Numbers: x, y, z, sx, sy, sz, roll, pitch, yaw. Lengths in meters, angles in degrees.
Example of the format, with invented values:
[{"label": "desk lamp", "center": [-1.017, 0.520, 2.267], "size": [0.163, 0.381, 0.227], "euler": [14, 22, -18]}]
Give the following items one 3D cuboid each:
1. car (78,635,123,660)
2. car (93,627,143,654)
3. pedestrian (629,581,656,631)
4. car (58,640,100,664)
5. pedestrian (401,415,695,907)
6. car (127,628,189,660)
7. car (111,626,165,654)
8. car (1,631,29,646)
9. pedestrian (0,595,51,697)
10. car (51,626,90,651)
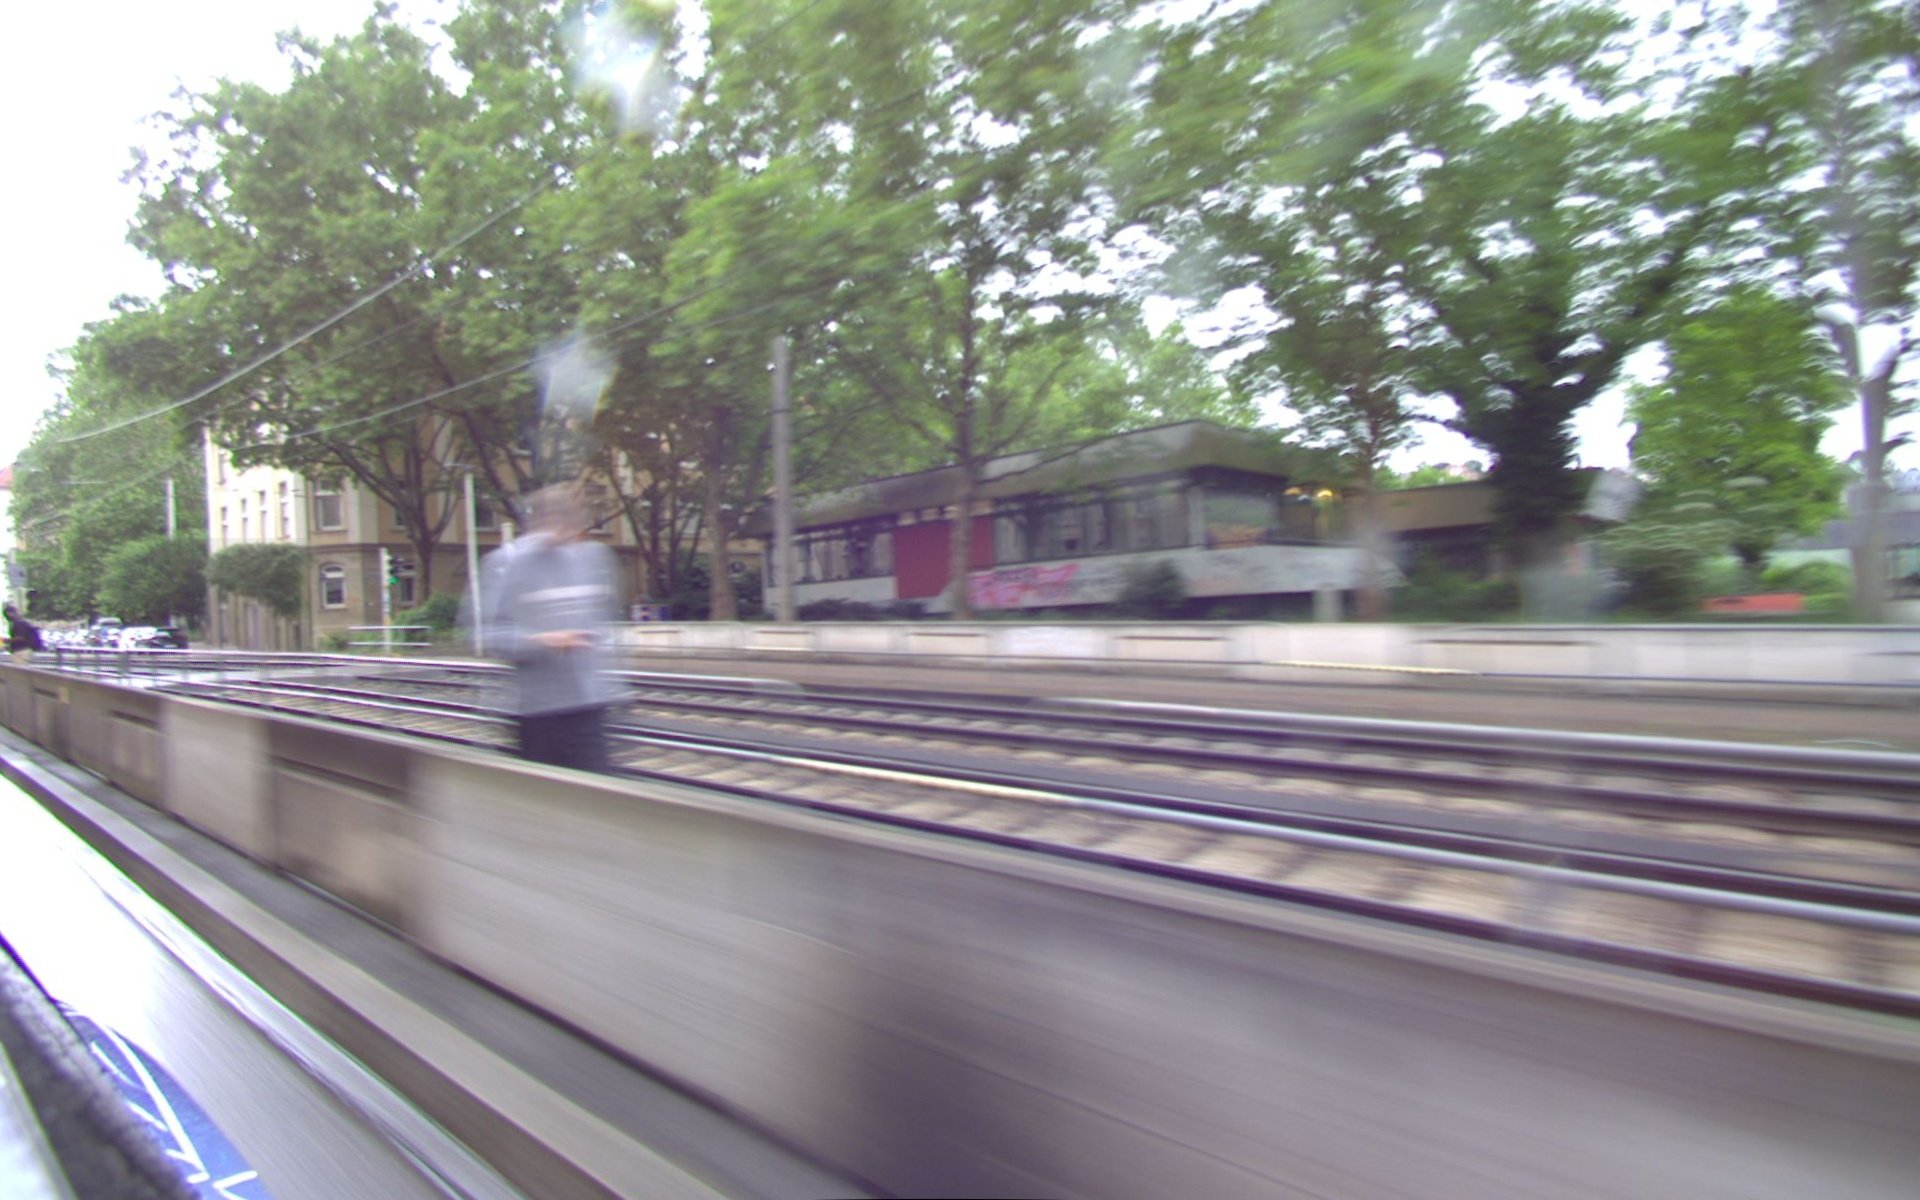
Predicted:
[{"label": "car", "center": [-52.361, 2.873, 61.643], "size": [3.279, 1.411, 1.465], "euler": [-3, -1, 39]}, {"label": "car", "center": [-48.689, 2.348, 58.489], "size": [3.513, 1.411, 1.625], "euler": [-3, -1, 40]}, {"label": "pedestrian", "center": [-11.729, 0.215, 37.366], "size": [0.856, 1.813, 0.864], "euler": [-2, 0, -20]}, {"label": "car", "center": [-56.233, 3.322, 64.588], "size": [3.496, 1.460, 1.465], "euler": [-3, -1, 39]}, {"label": "pedestrian", "center": [-1.745, 0.225, 4.309], "size": [0.787, 1.813, 0.850], "euler": [-2, 0, 40]}, {"label": "car", "center": [-41.599, 2.281, 52.488], "size": [3.806, 1.488, 1.867], "euler": [-2, 0, 42]}, {"label": "car", "center": [-45.015, 2.212, 55.390], "size": [3.513, 1.411, 1.625], "euler": [-3, -1, 40]}, {"label": "car", "center": [-80.312, 3.293, 86.004], "size": [2.907, 1.175, 1.310], "euler": [-3, -1, 39]}, {"label": "pedestrian", "center": [-16.202, 0.785, 17.415], "size": [0.642, 1.717, 0.663], "euler": [-2, 0, -26]}, {"label": "car", "center": [-59.988, 2.599, 68.216], "size": [3.310, 1.520, 1.385], "euler": [-3, -1, 39]}]
